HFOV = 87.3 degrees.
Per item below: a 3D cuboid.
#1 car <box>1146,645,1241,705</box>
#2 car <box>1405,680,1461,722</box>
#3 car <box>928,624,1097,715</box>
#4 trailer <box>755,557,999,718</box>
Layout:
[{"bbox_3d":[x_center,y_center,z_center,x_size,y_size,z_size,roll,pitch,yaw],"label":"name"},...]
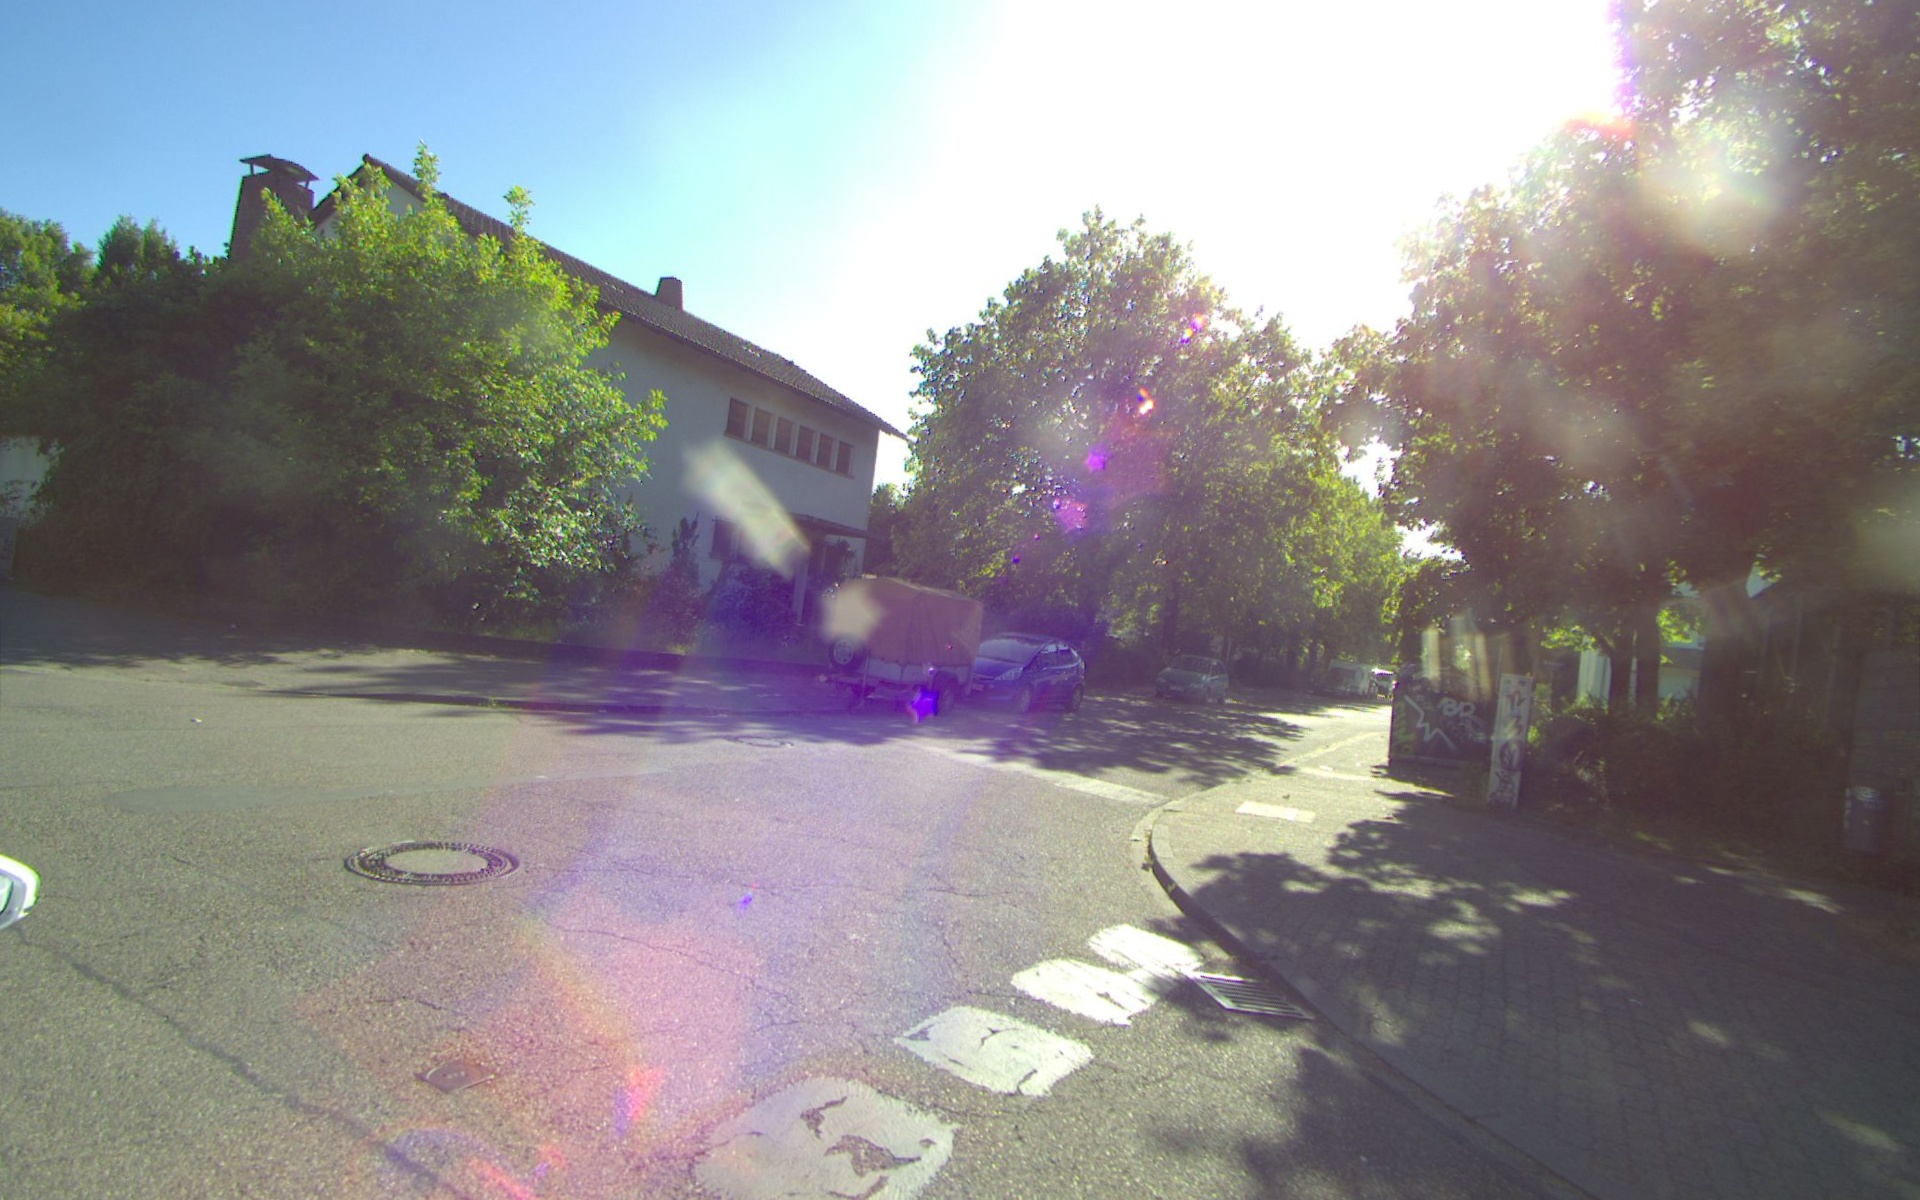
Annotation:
[{"bbox_3d":[7.828,2.516,33.446,1.842,1.670,3.995,7,-1,30],"label":"car"},{"bbox_3d":[23.254,4.943,49.428,2.031,1.670,3.995,7,-1,30],"label":"car"},{"bbox_3d":[1.209,1.469,21.039,1.858,1.530,3.926,6,-2,30],"label":"car"},{"bbox_3d":[-1.228,0.678,16.846,1.944,2.145,4.070,8,0,28],"label":"trailer"}]
